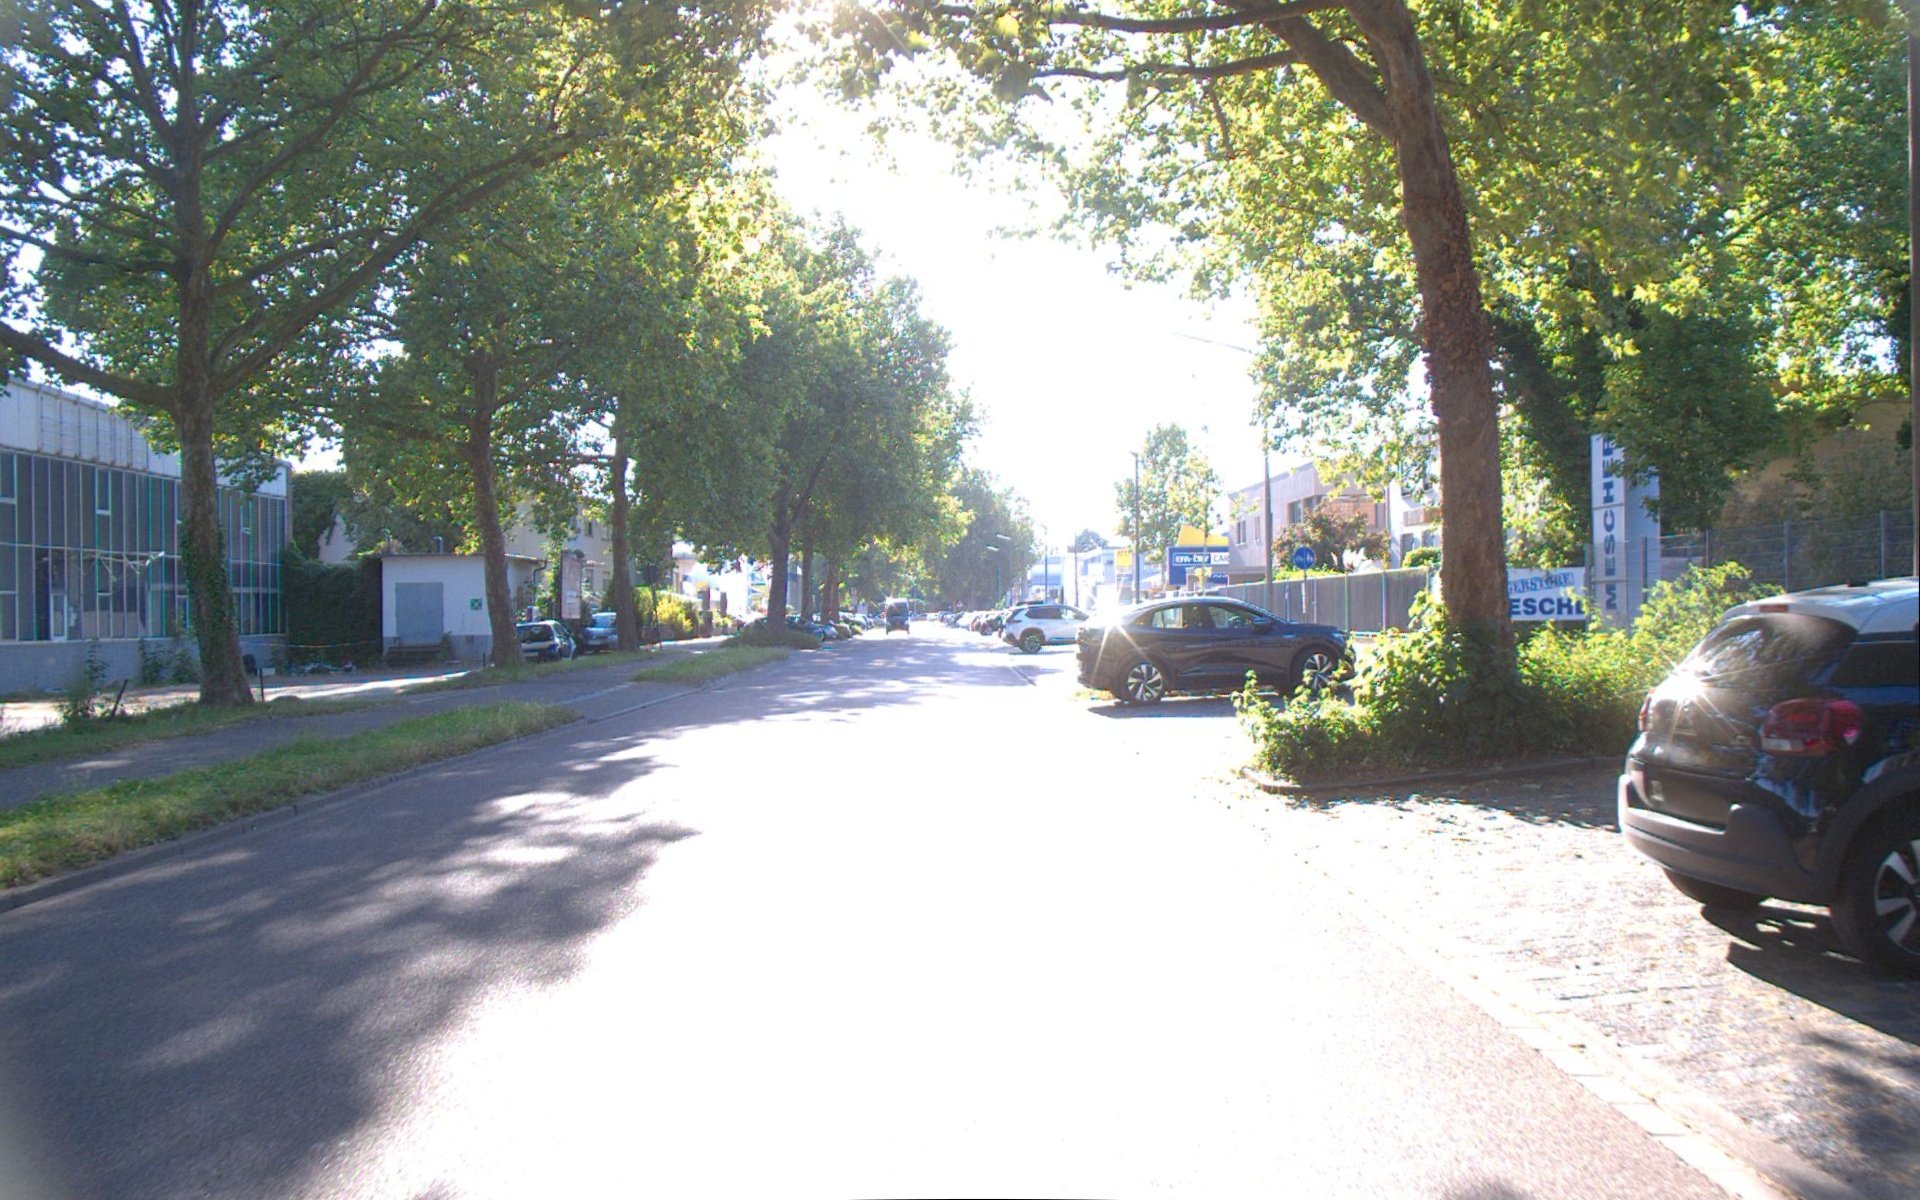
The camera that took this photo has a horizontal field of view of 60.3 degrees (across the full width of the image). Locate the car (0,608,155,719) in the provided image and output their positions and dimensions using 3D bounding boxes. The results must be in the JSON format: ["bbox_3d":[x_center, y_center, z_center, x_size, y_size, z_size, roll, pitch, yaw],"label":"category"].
[{"bbox_3d":[-12.821,0.820,20.849,4.447,1.328,1.969,-1,0,-43],"label":"car"}]

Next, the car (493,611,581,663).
[{"bbox_3d":[-13.119,1.130,51.511,1.956,1.393,3.916,-5,0,-6],"label":"car"}]

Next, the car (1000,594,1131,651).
[{"bbox_3d":[3.857,0.824,61.102,4.533,1.741,1.999,-4,-1,-3],"label":"car"}]

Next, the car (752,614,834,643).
[{"bbox_3d":[-8.923,1.532,88.820,4.267,1.447,1.999,-1,0,-4],"label":"car"}]

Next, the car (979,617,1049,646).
[{"bbox_3d":[3.553,2.072,109.465,4.507,1.607,2.000,-4,-1,1],"label":"car"}]

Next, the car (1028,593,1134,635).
[{"bbox_3d":[5.509,0.660,75.486,4.533,1.553,1.999,-4,-1,-3],"label":"car"}]

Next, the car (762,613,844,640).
[{"bbox_3d":[-8.971,1.522,94.848,4.507,1.447,1.999,-1,0,-2],"label":"car"}]

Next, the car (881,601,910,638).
[{"bbox_3d":[-4.988,1.488,128.982,2.084,2.706,7.000,-1,0,-1],"label":"car"}]

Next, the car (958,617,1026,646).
[{"bbox_3d":[2.174,2.177,113.909,4.509,1.641,1.999,-4,-1,-2],"label":"car"}]

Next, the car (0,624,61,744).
[{"bbox_3d":[-12.608,0.987,18.209,4.447,1.328,1.969,-1,0,-43],"label":"car"}]

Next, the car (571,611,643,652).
[{"bbox_3d":[-14.227,1.263,66.820,1.952,1.603,4.273,0,-1,0],"label":"car"}]

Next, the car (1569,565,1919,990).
[{"bbox_3d":[4.888,0.564,7.171,3.710,1.512,1.860,-4,-1,-3],"label":"car"}]

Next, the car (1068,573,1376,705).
[{"bbox_3d":[4.141,0.606,26.579,4.481,1.745,1.941,-4,-1,-5],"label":"car"}]
